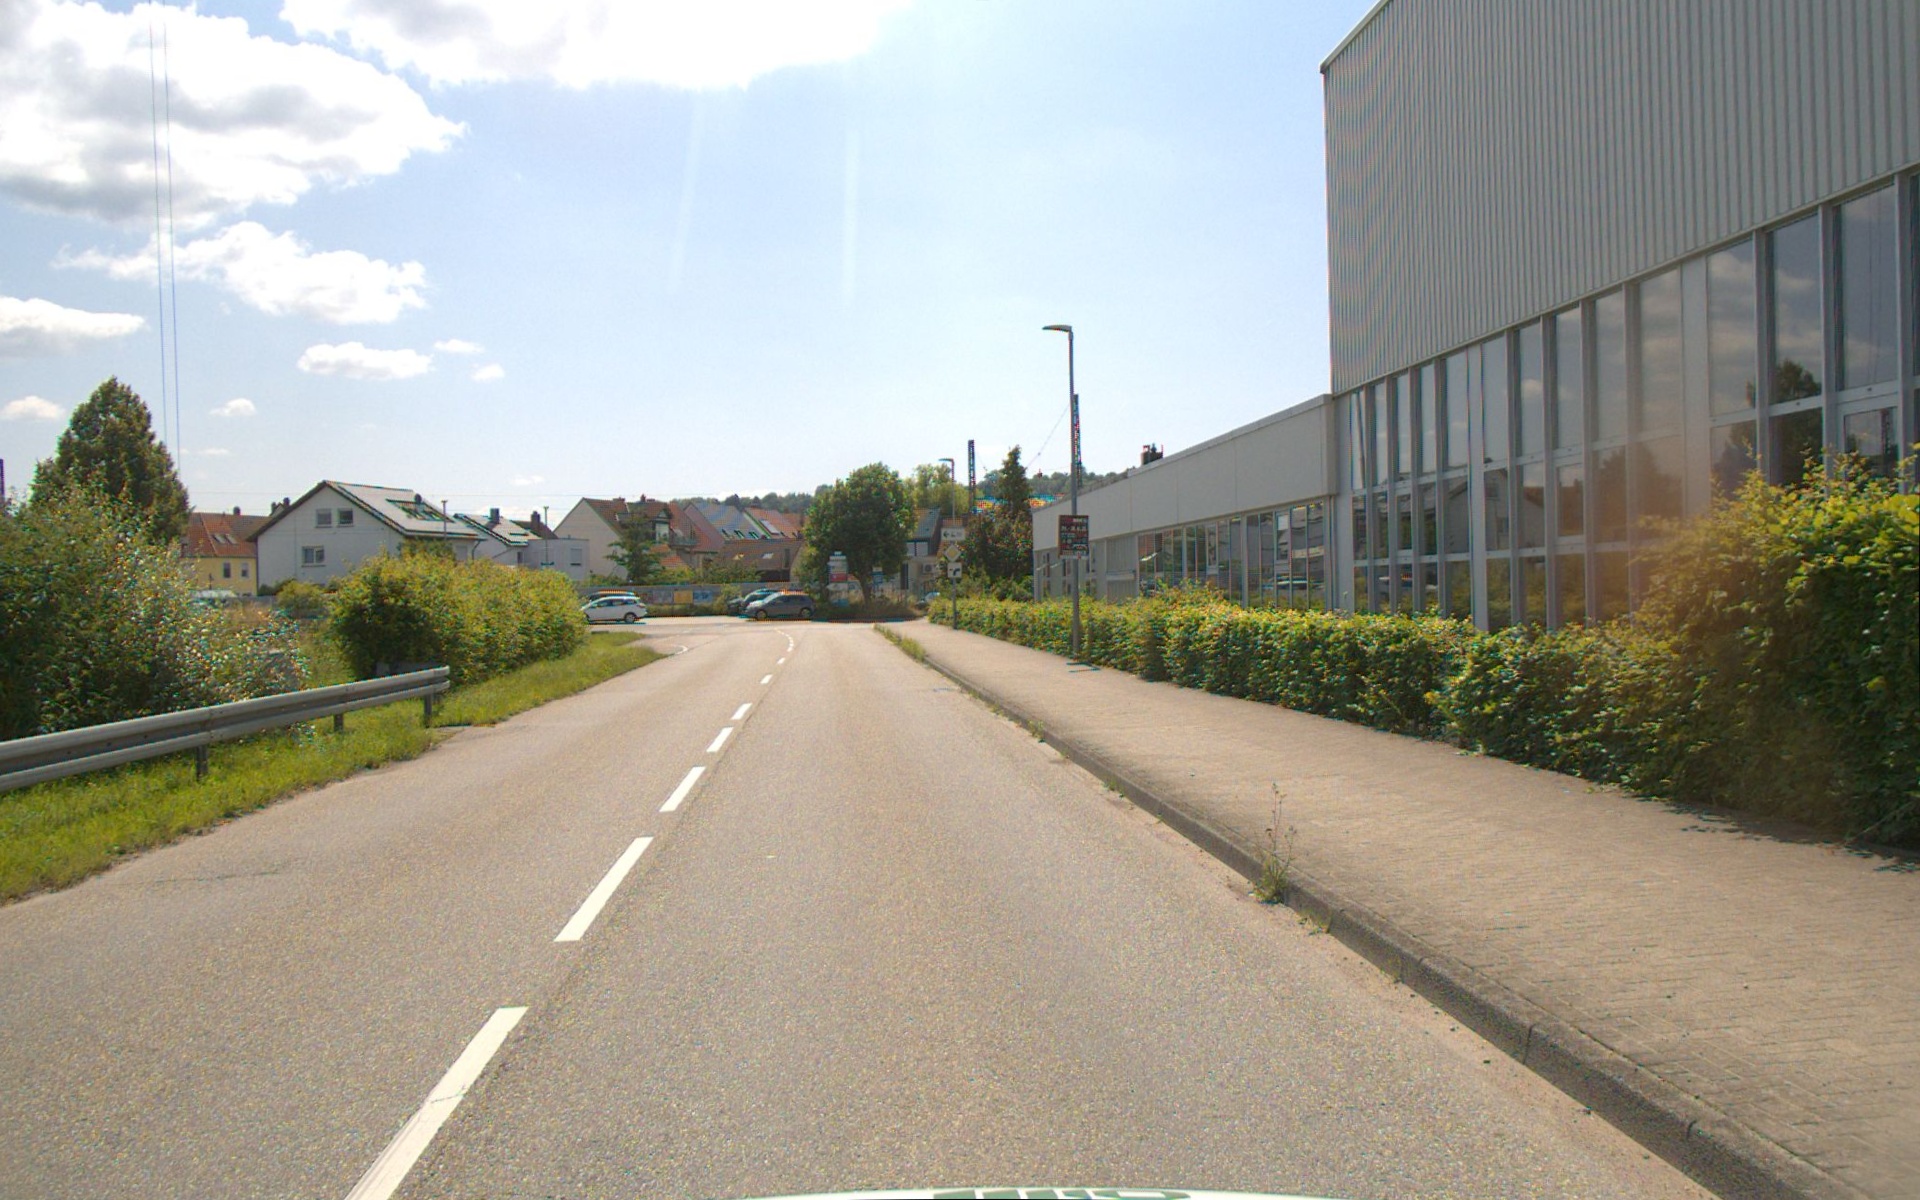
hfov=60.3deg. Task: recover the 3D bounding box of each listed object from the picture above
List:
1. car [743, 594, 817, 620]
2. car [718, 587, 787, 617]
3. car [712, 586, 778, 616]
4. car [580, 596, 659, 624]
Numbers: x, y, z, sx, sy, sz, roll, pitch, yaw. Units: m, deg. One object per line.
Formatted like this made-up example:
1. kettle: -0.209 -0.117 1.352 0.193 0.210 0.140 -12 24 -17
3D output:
1. car: -10.483 0.393 96.241 4.116 1.488 1.658 0 -1 -14
2. car: -12.563 0.099 100.256 3.921 1.686 1.992 -1 0 -15
3. car: -13.422 0.071 103.145 3.920 1.760 1.763 1 -1 -15
4. car: -19.255 0.585 93.522 4.215 1.503 1.819 1 -1 -17
